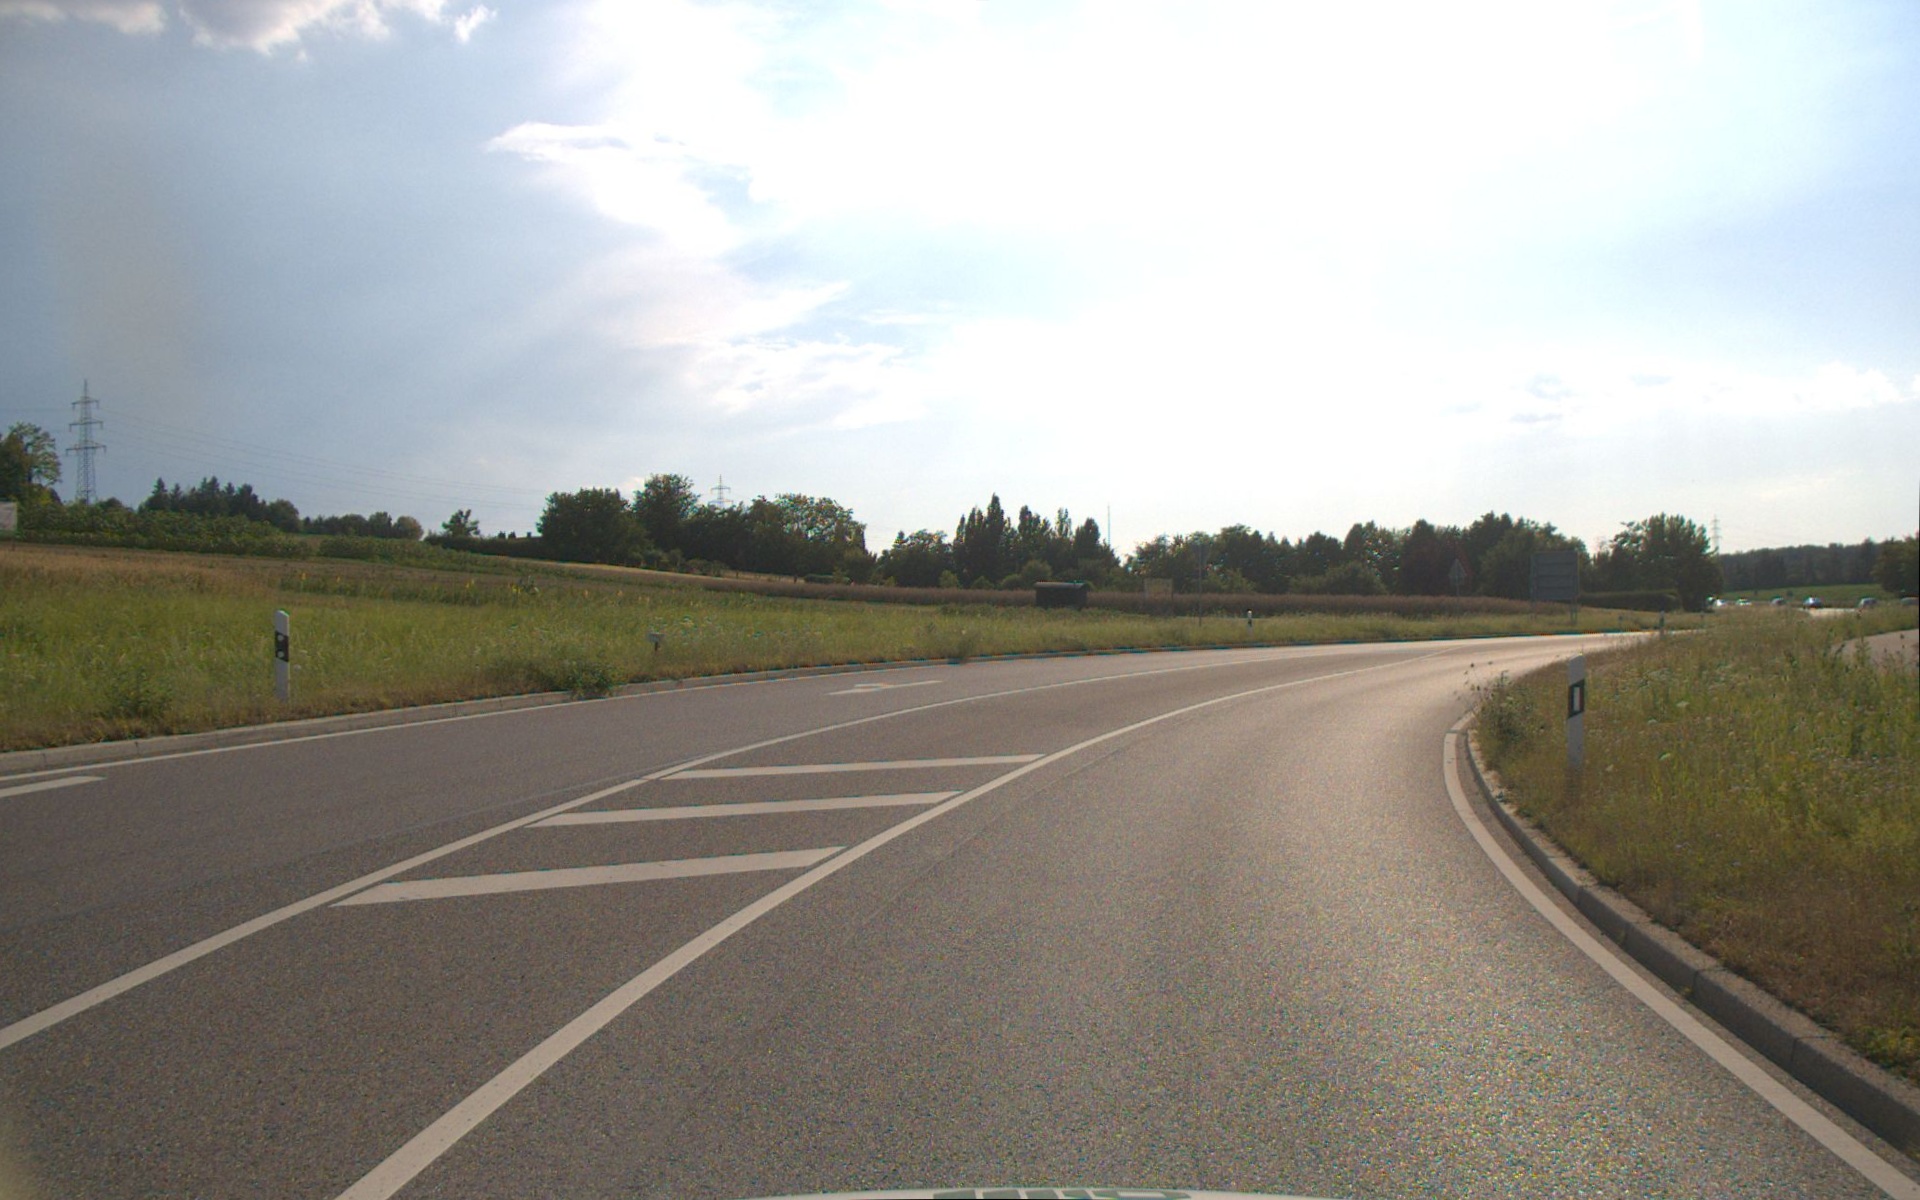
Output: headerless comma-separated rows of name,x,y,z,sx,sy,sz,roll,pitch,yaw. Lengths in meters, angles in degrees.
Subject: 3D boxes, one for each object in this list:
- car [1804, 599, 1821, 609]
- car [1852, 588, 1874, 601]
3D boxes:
car,118.608,0.555,230.159,1.813,1.432,3.374,1,0,22
car,106.596,-0.603,195.262,1.813,1.432,3.644,1,0,22
